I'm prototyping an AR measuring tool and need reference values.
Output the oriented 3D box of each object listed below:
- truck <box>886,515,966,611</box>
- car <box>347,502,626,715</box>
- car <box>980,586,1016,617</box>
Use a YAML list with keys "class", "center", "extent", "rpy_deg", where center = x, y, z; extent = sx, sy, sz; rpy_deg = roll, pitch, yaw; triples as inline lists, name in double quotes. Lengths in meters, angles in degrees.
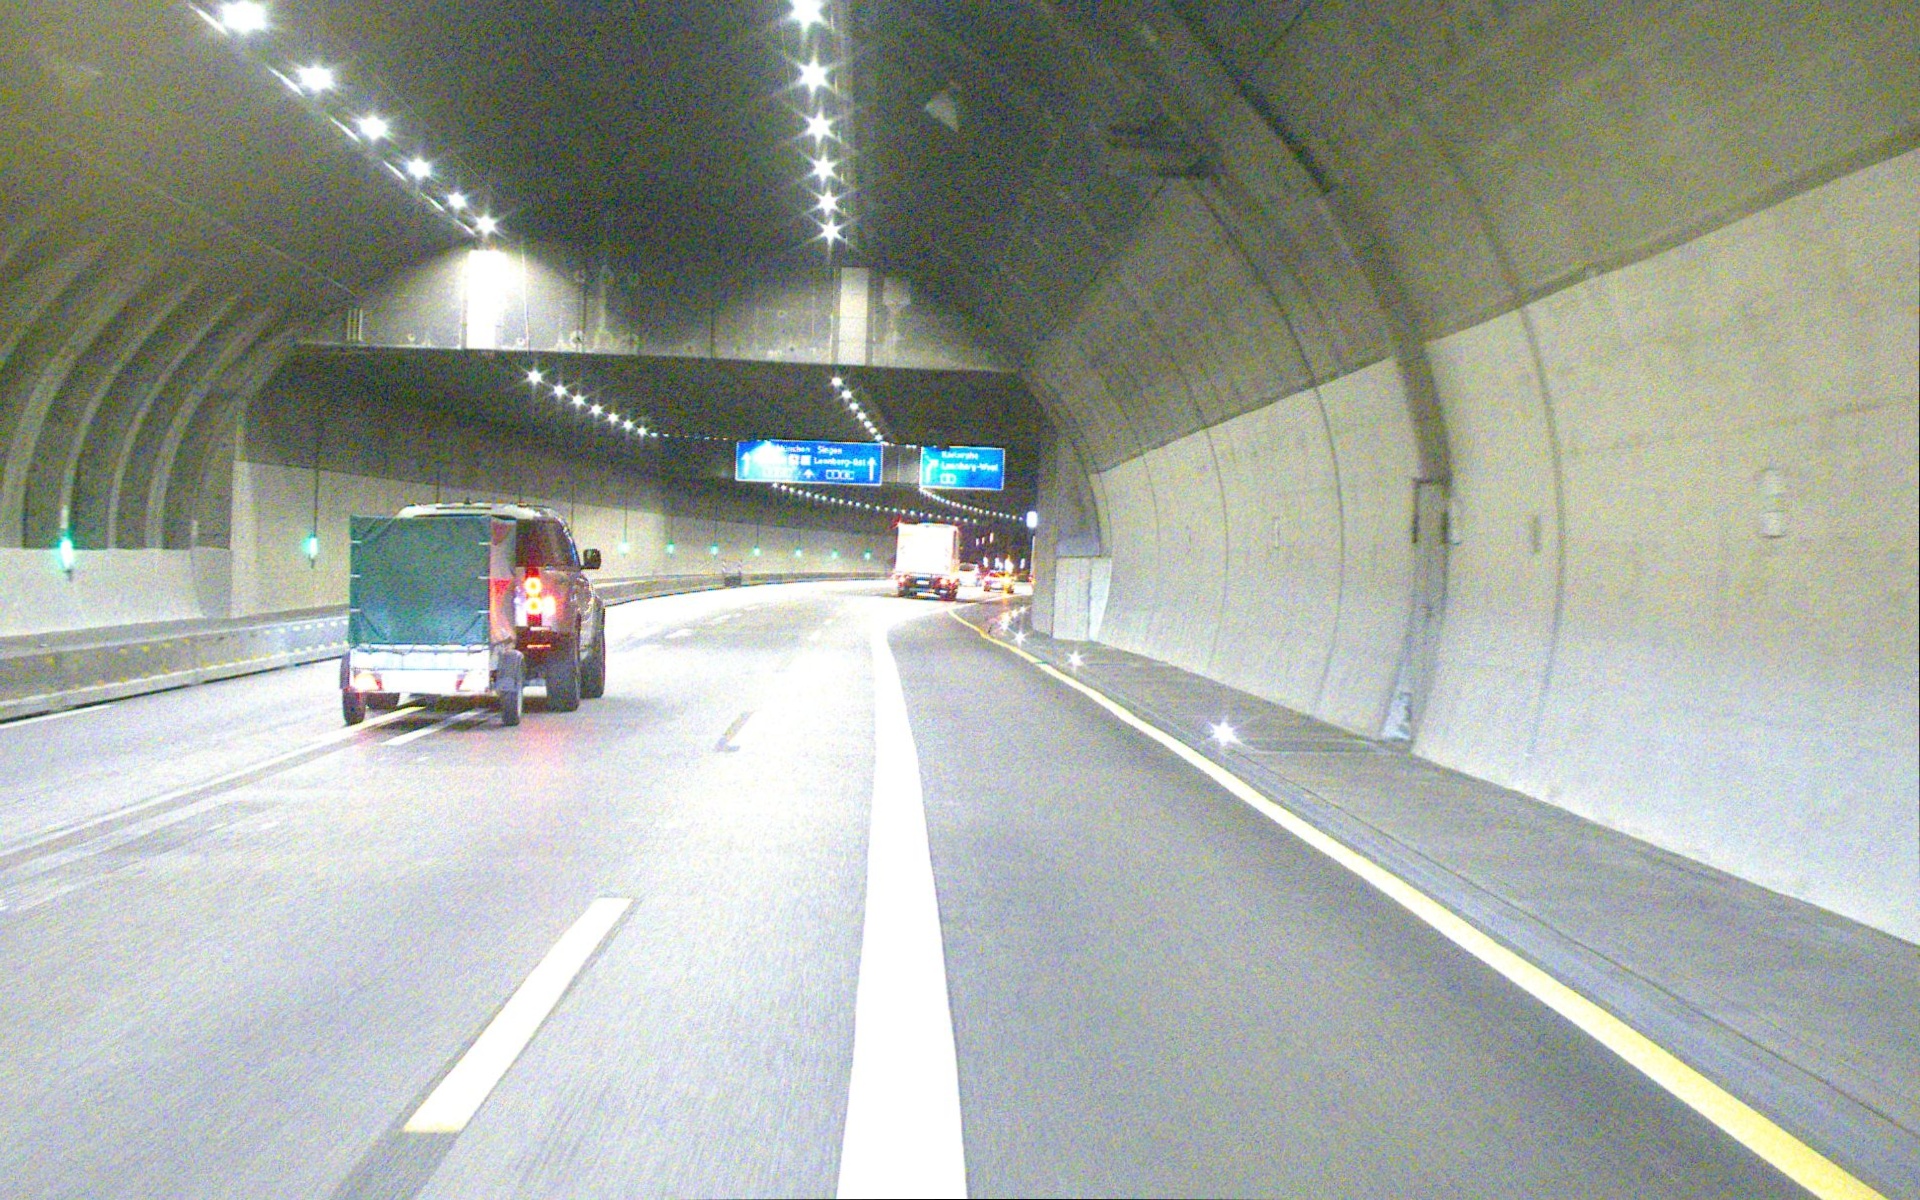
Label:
- class: "truck"
  center: [-1.670, -1.819, 162.428]
  extent: [3.474, 4.301, 10.953]
  rpy_deg: [2, 1, -2]
- class: "car"
  center: [-4.560, 0.030, 33.881]
  extent: [1.993, 1.888, 5.454]
  rpy_deg: [1, 1, 0]
- class: "car"
  center: [2.466, 0.067, 222.604]
  extent: [1.994, 1.888, 5.531]
  rpy_deg: [1, 1, 4]
